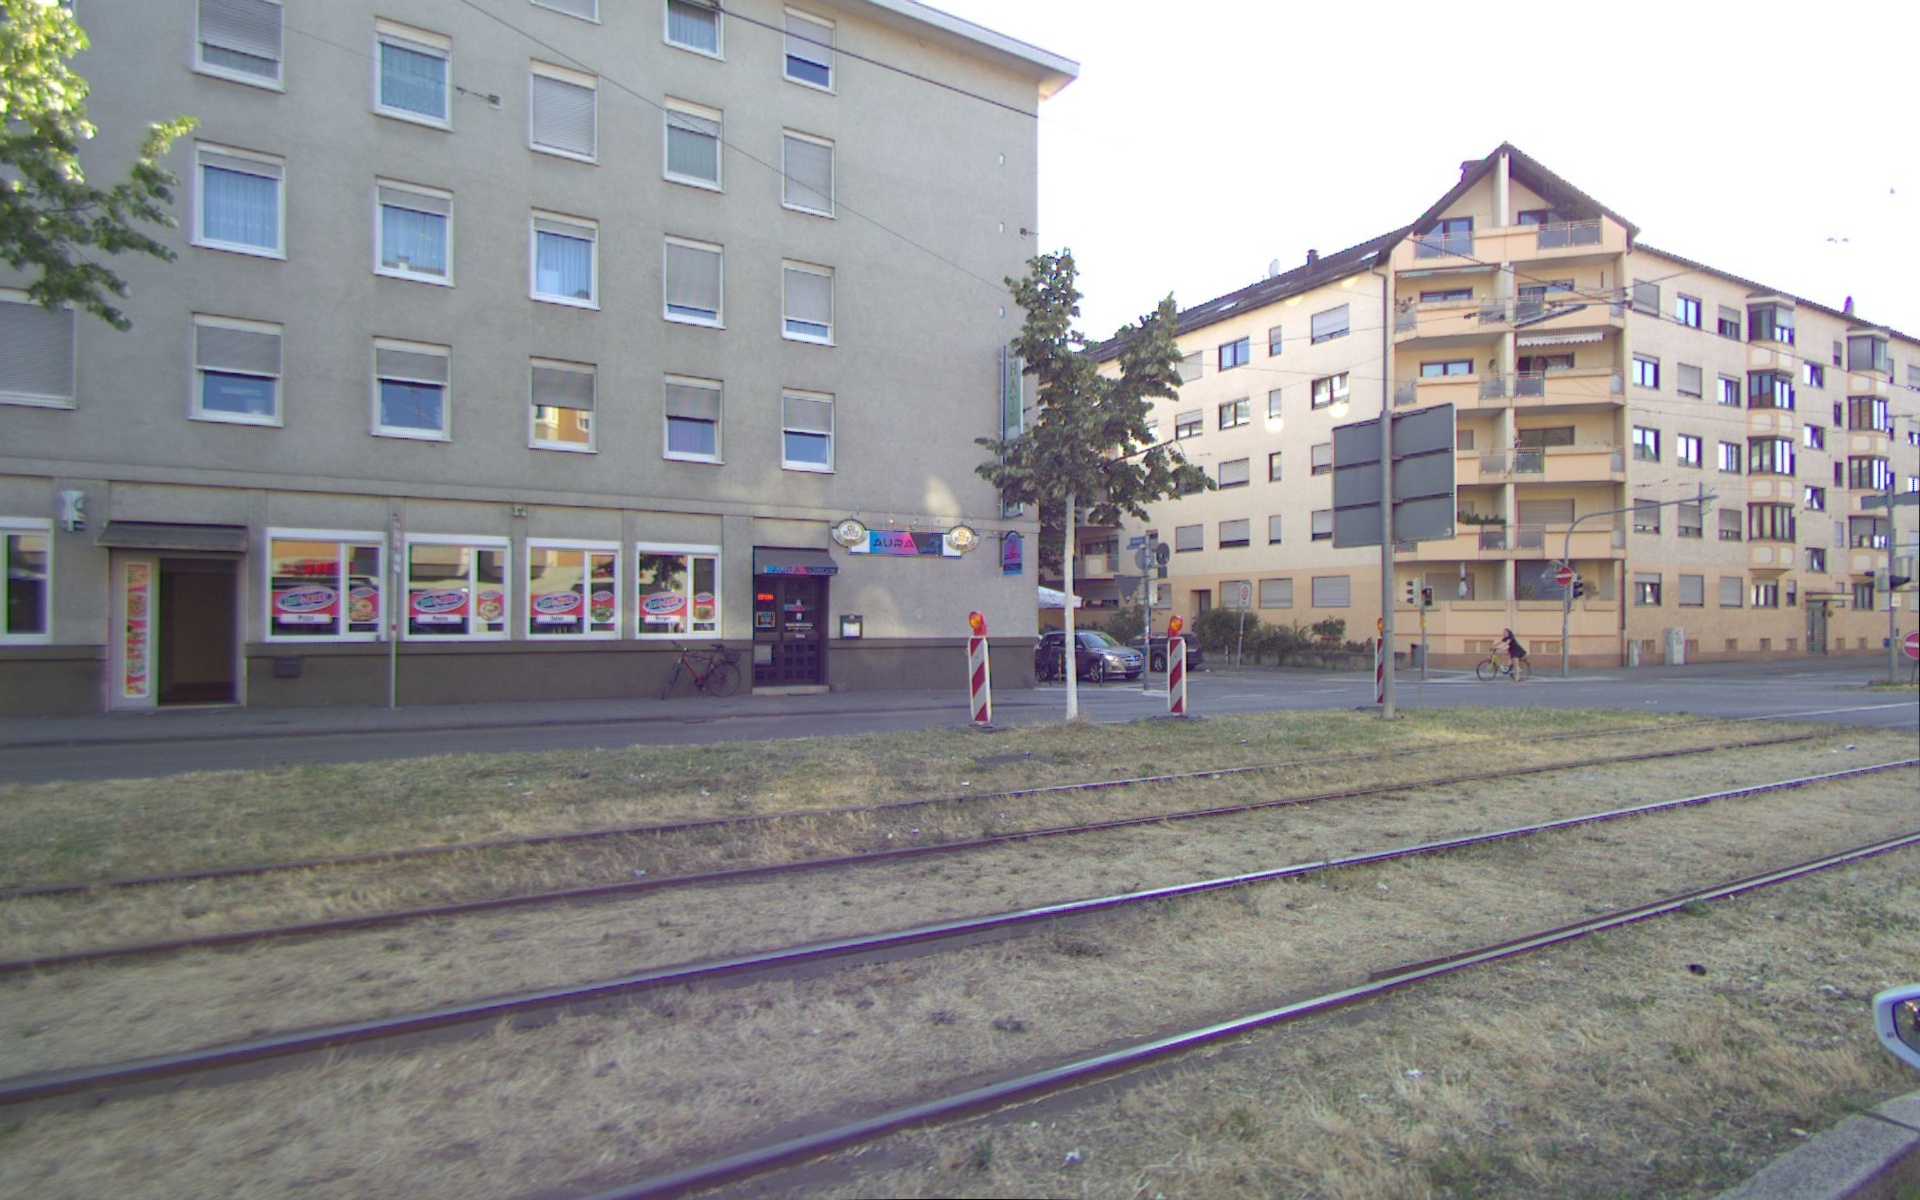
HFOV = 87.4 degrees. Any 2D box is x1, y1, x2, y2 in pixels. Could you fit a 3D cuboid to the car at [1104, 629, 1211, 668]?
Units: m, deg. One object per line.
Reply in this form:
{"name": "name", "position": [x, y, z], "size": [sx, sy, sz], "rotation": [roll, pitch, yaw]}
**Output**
{"name": "car", "position": [7.738, 1.893, 39.621], "size": [1.776, 1.458, 3.926], "rotation": [2, -2, -39]}

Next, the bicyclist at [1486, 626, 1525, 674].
{"name": "bicyclist", "position": [17.022, 1.561, 31.358], "size": [0.946, 1.466, 0.529], "rotation": [0, -1, 1]}

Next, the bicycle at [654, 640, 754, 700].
{"name": "bicycle", "position": [-5.024, 1.350, 19.729], "size": [1.757, 1.129, 0.743], "rotation": [1, -1, -30]}

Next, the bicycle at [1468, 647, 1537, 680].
{"name": "bicycle", "position": [16.920, 1.967, 31.336], "size": [1.845, 0.997, 0.529], "rotation": [0, -1, 1]}

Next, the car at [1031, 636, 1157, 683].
{"name": "car", "position": [4.376, 1.915, 33.274], "size": [1.751, 1.406, 4.075], "rotation": [2, -2, -39]}
